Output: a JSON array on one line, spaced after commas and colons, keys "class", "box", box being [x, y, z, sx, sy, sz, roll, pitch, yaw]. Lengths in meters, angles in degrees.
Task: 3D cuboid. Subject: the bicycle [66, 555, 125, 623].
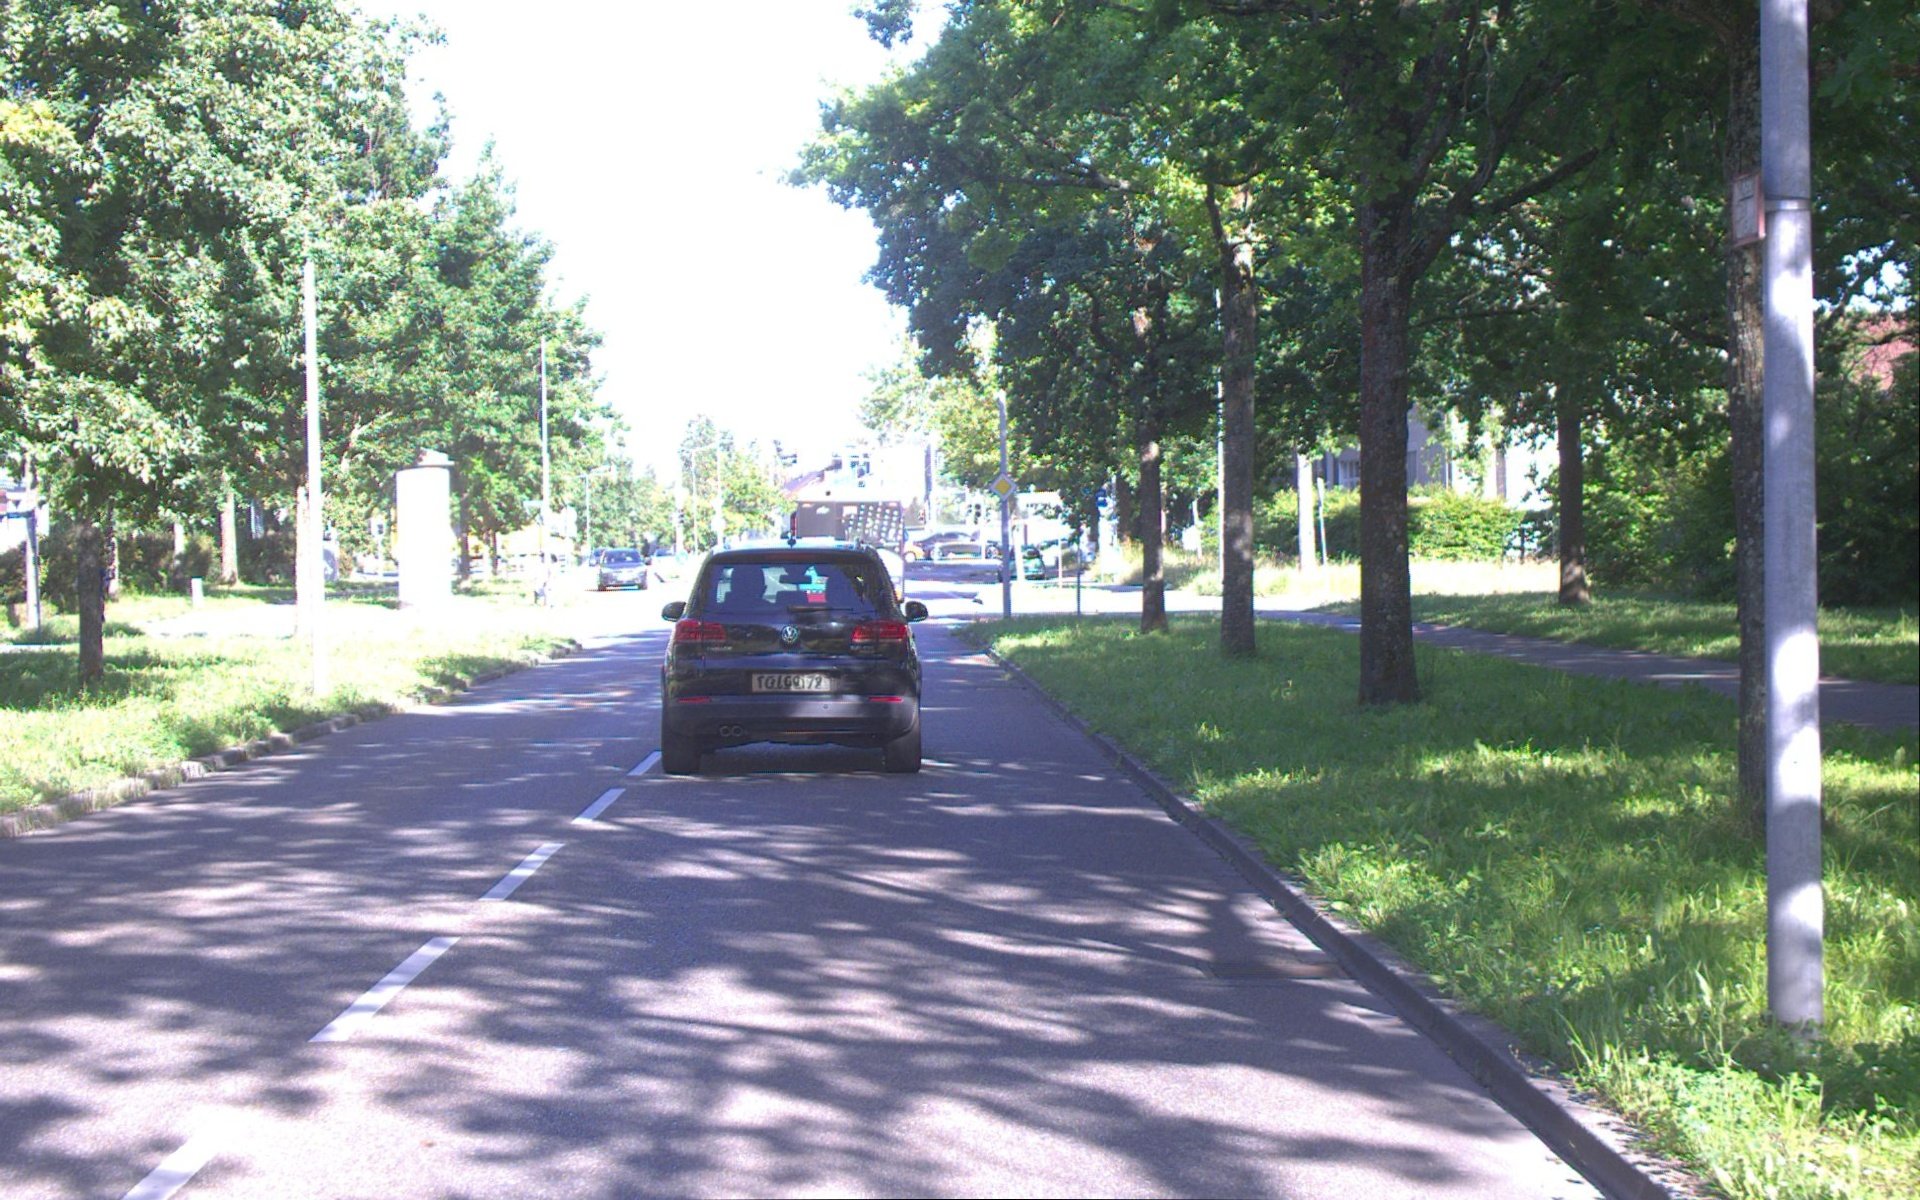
[{"class": "bicycle", "box": [-17.236, -0.229, 68.561, 0.717, 1.317, 1.992, 0, 1, -2]}]

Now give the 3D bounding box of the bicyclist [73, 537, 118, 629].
[{"class": "bicyclist", "box": [-17.276, -0.343, 68.698, 0.686, 1.824, 0.934, 0, 1, -1]}]

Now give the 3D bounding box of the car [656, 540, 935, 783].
[{"class": "car", "box": [-1.139, 0.386, 25.512, 1.782, 1.628, 4.000, 1, 1, 1]}]

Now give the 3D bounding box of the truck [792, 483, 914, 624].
[{"class": "truck", "box": [-2.547, -1.170, 84.175, 2.512, 3.232, 8.152, -1, 1, 1]}]

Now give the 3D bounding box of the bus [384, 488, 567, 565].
[{"class": "bus", "box": [-24.640, -3.715, 174.536, 9.101, 3.765, 3.388, 0, 1, -10]}]

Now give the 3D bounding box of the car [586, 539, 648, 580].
[{"class": "car", "box": [-12.841, -1.546, 128.846, 1.993, 1.450, 4.001, -1, 1, -1]}]

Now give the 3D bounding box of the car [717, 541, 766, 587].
[{"class": "car", "box": [-9.662, -1.601, 151.741, 1.993, 2.007, 4.001, 0, 1, -6]}]

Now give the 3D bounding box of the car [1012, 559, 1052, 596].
[{"class": "car", "box": [2.774, -0.881, 133.084, 1.452, 1.401, 2.856, 1, 1, 0]}]
